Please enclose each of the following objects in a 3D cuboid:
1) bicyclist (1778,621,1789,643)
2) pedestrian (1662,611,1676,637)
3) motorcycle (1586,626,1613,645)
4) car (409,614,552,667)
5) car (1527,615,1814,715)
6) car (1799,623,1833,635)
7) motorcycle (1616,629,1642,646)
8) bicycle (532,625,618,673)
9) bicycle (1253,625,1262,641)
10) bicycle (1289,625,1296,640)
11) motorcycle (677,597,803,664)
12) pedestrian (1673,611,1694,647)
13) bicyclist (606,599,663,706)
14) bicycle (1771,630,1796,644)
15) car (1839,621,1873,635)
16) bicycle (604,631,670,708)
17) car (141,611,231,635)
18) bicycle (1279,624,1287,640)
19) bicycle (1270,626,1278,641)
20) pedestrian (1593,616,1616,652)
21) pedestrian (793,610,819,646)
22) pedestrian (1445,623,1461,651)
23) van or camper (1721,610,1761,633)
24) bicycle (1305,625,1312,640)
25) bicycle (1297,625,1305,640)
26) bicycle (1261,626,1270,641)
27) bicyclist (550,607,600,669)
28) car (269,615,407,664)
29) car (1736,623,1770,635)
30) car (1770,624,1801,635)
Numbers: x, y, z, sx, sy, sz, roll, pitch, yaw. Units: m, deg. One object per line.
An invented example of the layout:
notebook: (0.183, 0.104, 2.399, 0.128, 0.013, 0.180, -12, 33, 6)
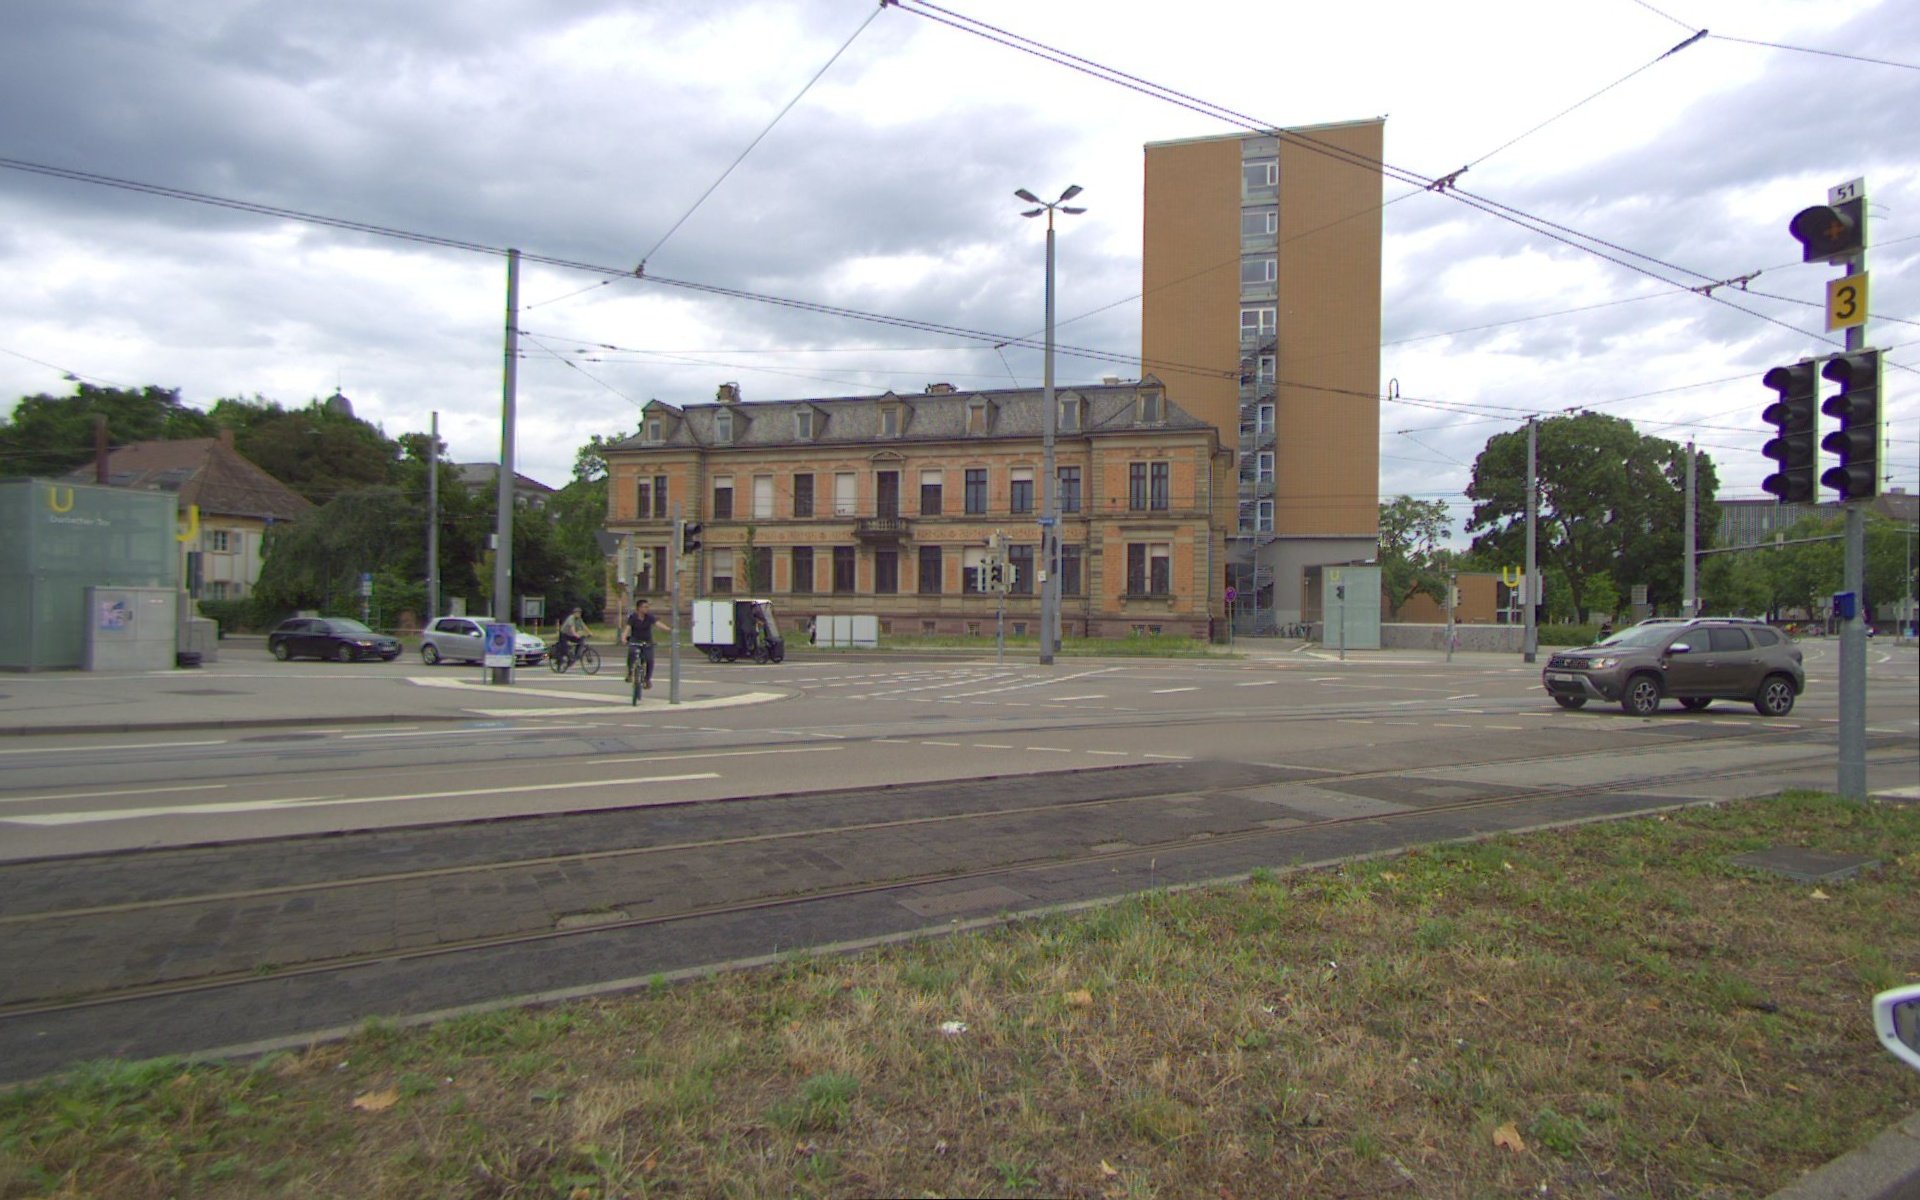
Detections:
bicyclist: (76.270, 2.983, 93.065, 0.578, 2.040, 0.514, 1, -1, 14)
pedestrian: (55.821, 1.875, 79.104, 0.781, 2.007, 0.880, 1, -1, 26)
motorcycle: (43.287, 2.412, 68.025, 1.443, 1.285, 0.512, 1, 0, 15)
car: (-14.839, 1.210, 31.056, 4.081, 1.473, 1.760, 0, 0, 24)
car: (12.701, 1.143, 18.060, 4.153, 1.662, 1.800, 1, 0, -10)
car: (110.433, 3.749, 129.678, 1.746, 1.483, 4.002, 1, 0, 14)
motorcycle: (45.391, 2.553, 68.135, 1.716, 1.126, 0.510, 1, 0, -17)
bicycle: (-10.491, 1.316, 27.359, 2.155, 1.224, 0.857, 0, -1, 21)
bicycle: (22.191, 2.475, 74.968, 0.561, 1.120, 1.428, 1, 0, 18)
bicycle: (24.579, 2.384, 74.239, 0.500, 1.063, 1.428, 1, -1, 18)
motorcycle: (-7.067, 0.955, 32.319, 3.614, 2.040, 1.696, 1, 0, 19)
pedestrian: (42.734, 1.720, 59.313, 0.917, 2.040, 1.007, 1, -2, 41)
bicyclist: (-5.777, 0.900, 17.818, 0.805, 1.822, 1.022, -1, 0, -27)
bicycle: (76.274, 3.456, 93.051, 1.791, 1.252, 0.435, 1, -1, 14)
car: (105.423, 3.275, 118.228, 1.747, 1.483, 3.998, 1, 0, 22)
bicycle: (-5.733, 1.187, 17.742, 0.805, 1.259, 1.986, 0, -1, -27)
car: (-43.421, 1.279, 56.396, 3.919, 1.305, 1.936, 1, -1, 13)
bicycle: (23.956, 2.374, 74.443, 0.561, 1.120, 1.428, 1, 0, 18)
bicycle: (23.314, 2.497, 74.615, 0.561, 1.120, 1.428, 1, 0, 18)
pedestrian: (37.204, 1.957, 57.956, 1.009, 2.040, 0.842, 0, -1, 42)
pedestrian: (-7.666, 1.396, 50.064, 1.104, 1.786, 0.759, 1, 0, 8)
pedestrian: (24.924, 1.872, 50.779, 0.562, 1.353, 0.499, 1, 0, 10)
van or camper: (110.567, 3.000, 142.263, 2.347, 3.165, 5.507, 1, -1, 12)
bicycle: (25.646, 2.362, 73.946, 0.472, 1.063, 1.428, 1, -1, 18)
bicycle: (25.152, 2.371, 74.110, 0.472, 1.063, 1.428, 1, -1, 18)
bicycle: (22.753, 2.479, 74.790, 0.561, 1.120, 1.428, 1, 0, 18)
bicyclist: (-10.481, 1.016, 27.364, 0.899, 1.644, 0.855, 0, -1, 21)
car: (-20.583, 1.286, 33.247, 4.061, 1.468, 1.697, 1, 0, 19)
car: (97.364, 3.541, 123.316, 1.746, 1.483, 4.002, 1, -1, 14)
car: (112.331, 3.996, 136.707, 1.746, 1.483, 4.002, 1, 0, 15)
